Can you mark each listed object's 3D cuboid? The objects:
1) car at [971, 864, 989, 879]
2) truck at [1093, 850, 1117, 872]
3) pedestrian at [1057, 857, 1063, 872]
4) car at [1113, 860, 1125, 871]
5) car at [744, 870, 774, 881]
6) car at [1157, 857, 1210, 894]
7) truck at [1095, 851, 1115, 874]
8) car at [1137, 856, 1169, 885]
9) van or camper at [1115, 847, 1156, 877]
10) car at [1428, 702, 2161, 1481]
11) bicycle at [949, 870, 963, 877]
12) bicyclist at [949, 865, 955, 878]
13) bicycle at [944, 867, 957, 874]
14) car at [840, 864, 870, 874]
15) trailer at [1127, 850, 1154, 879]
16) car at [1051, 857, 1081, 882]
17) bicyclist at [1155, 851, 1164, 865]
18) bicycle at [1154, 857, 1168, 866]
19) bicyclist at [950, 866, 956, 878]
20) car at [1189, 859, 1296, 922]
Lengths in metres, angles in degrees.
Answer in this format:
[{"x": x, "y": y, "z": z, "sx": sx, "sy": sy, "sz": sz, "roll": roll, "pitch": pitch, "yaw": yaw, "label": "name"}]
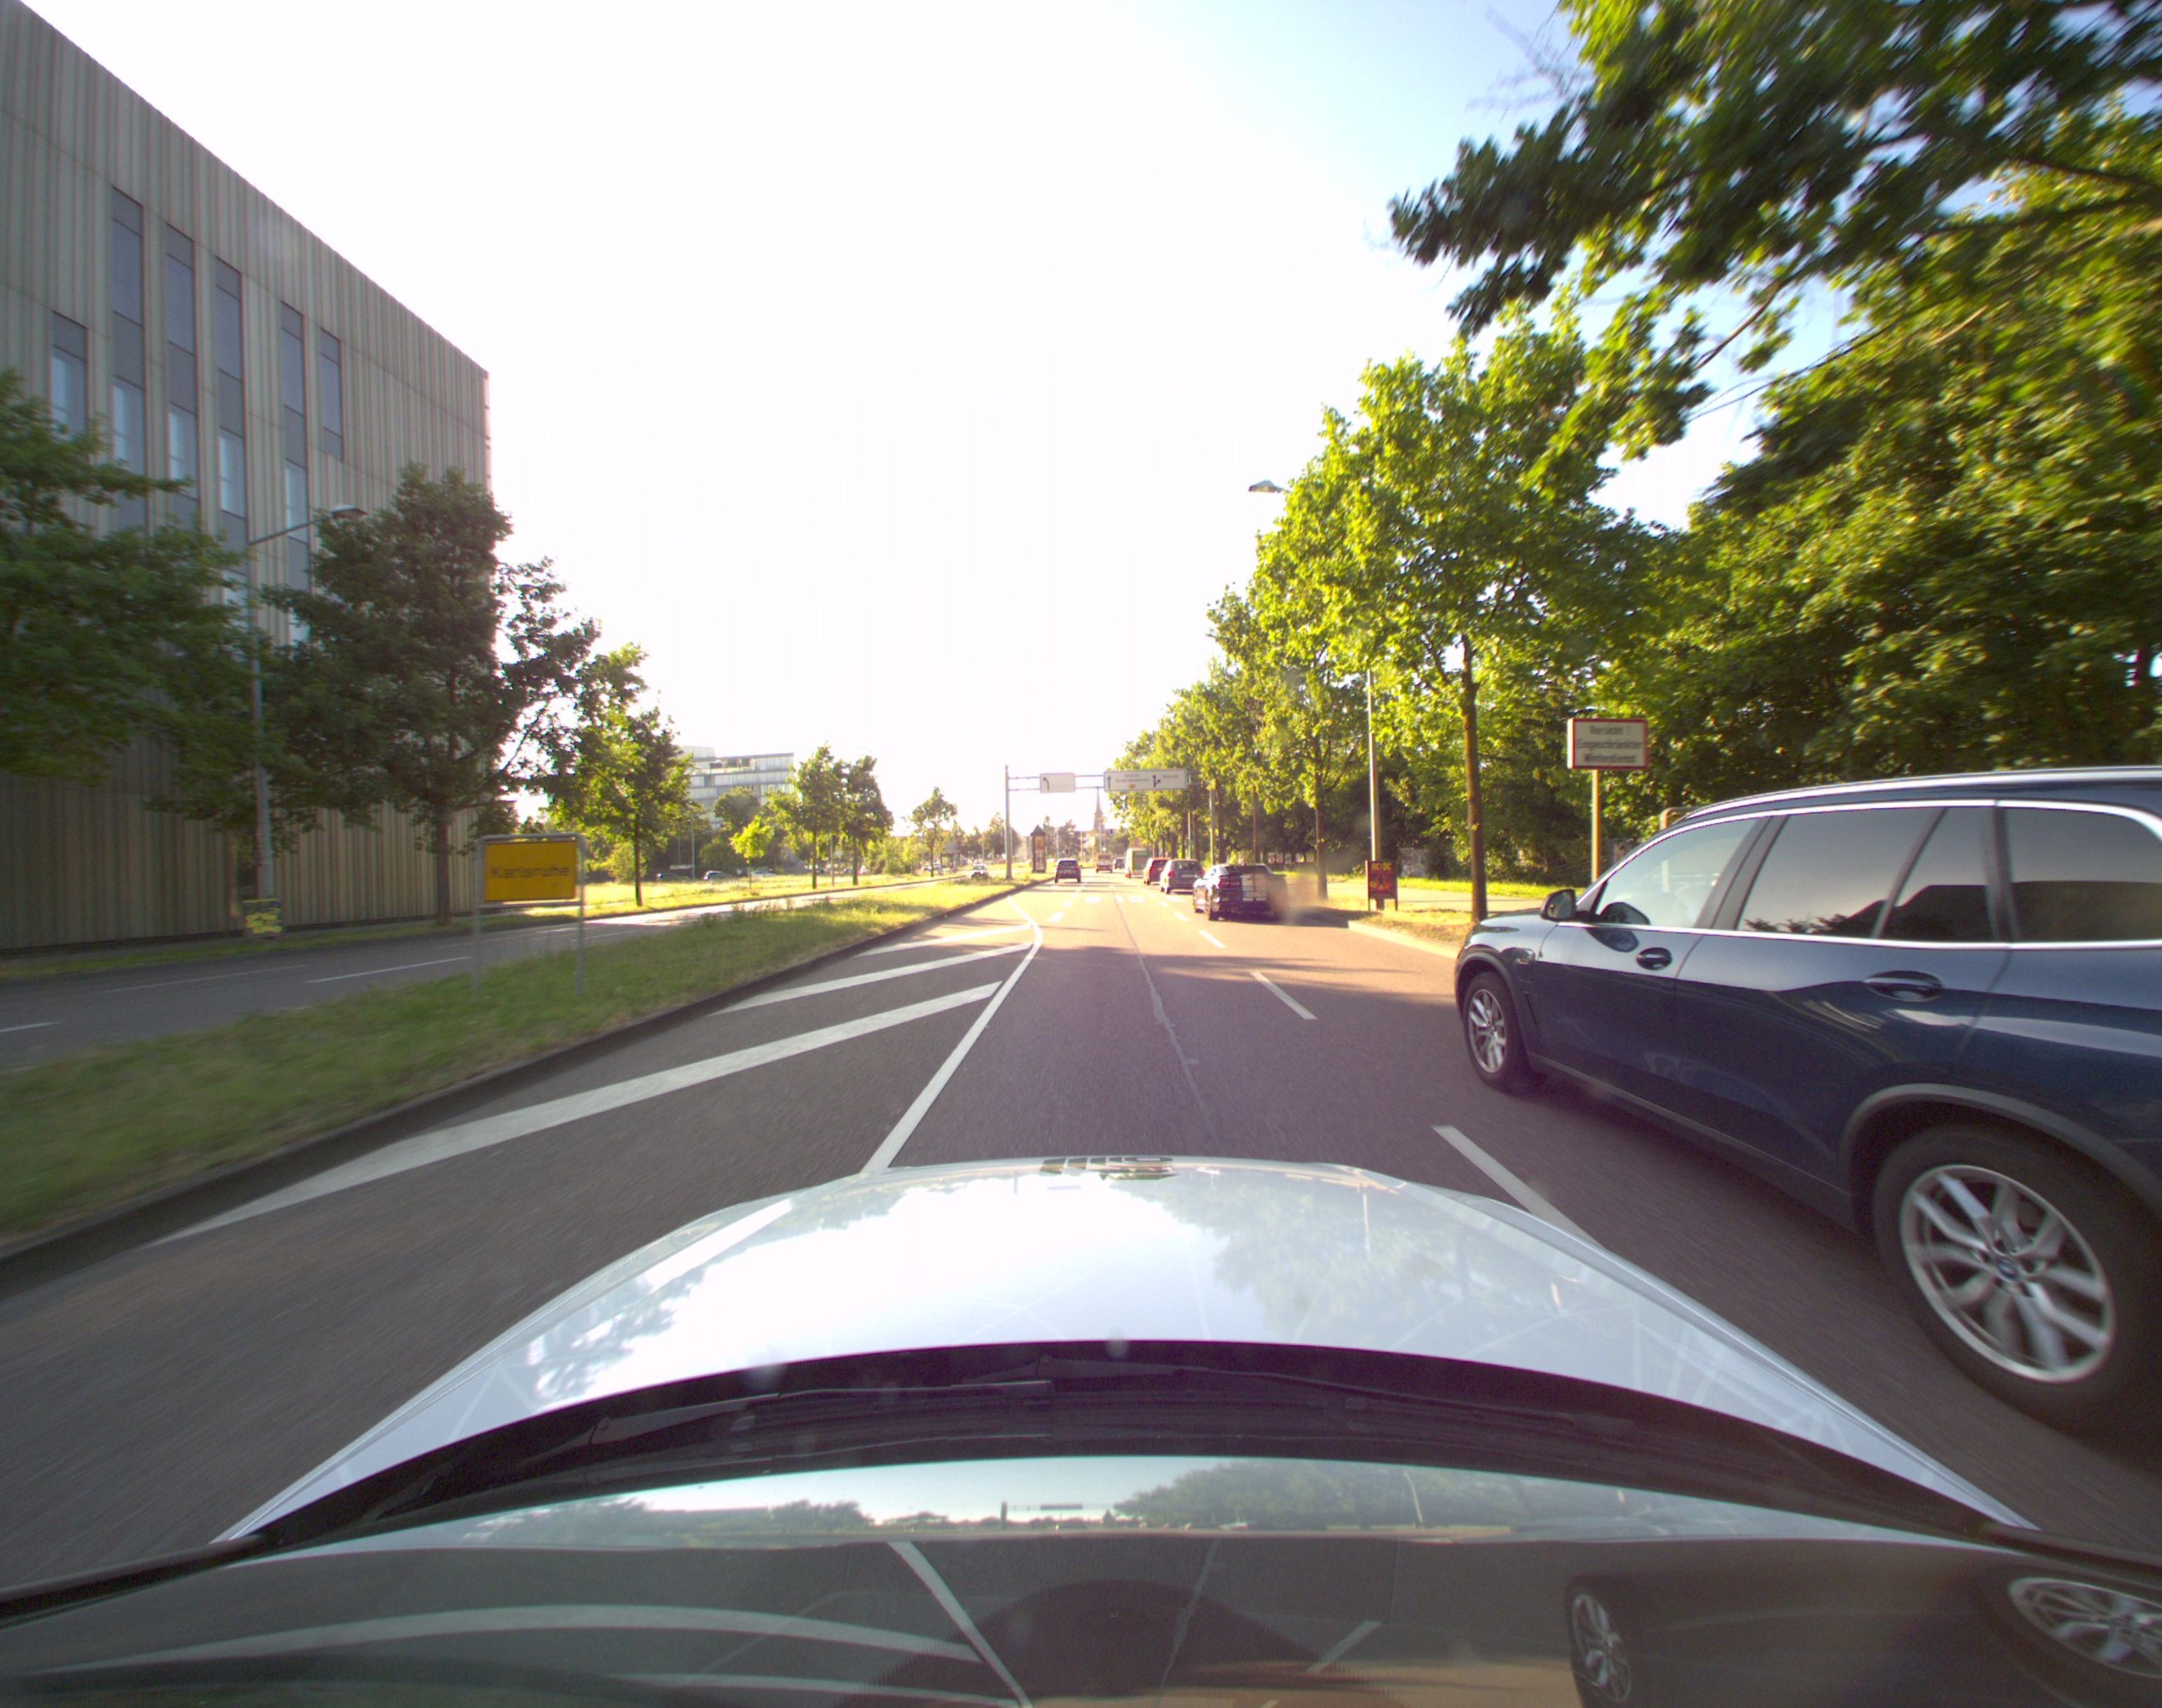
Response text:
[{"x": -11.018, "y": 1.922, "z": 89.230, "sx": 1.558, "sy": 1.575, "sz": 3.410, "roll": -2, "pitch": -1, "yaw": -1, "label": "car"}, {"x": 2.886, "y": 0.851, "z": 100.524, "sx": 2.573, "sy": 2.558, "sz": 6.247, "roll": -2, "pitch": 0, "yaw": -2, "label": "truck"}, {"x": -2.945, "y": 1.507, "z": 116.343, "sx": 0.788, "sy": 2.013, "sz": 0.700, "roll": -1, "pitch": 0, "yaw": -5, "label": "pedestrian"}, {"x": 5.641, "y": 1.674, "z": 121.154, "sx": 1.596, "sy": 1.610, "sz": 4.002, "roll": -2, "pitch": 0, "yaw": 2, "label": "car"}, {"x": -49.026, "y": 3.338, "z": 124.070, "sx": 3.729, "sy": 1.508, "sz": 1.853, "roll": -2, "pitch": 0, "yaw": -41, "label": "car"}, {"x": 4.389, "y": 0.898, "z": 35.333, "sx": 1.742, "sy": 1.473, "sz": 3.819, "roll": -2, "pitch": 0, "yaw": 0, "label": "car"}, {"x": 2.899, "y": 1.018, "z": 99.902, "sx": 2.212, "sy": 2.651, "sz": 4.773, "roll": -2, "pitch": 0, "yaw": 0, "label": "truck"}, {"x": 4.279, "y": 0.965, "z": 48.832, "sx": 1.741, "sy": 1.621, "sz": 3.821, "roll": 0, "pitch": 0, "yaw": 2, "label": "car"}, {"x": 4.944, "y": 0.732, "z": 75.092, "sx": 2.284, "sy": 2.629, "sz": 6.561, "roll": -1, "pitch": 0, "yaw": -9, "label": "van or camper"}, {"x": 3.444, "y": 0.540, "z": 3.622, "sx": 1.947, "sy": 1.727, "sz": 4.702, "roll": -1, "pitch": -1, "yaw": 2, "label": "car"}, {"x": -18.406, "y": 2.891, "z": 119.632, "sx": 1.897, "sy": 1.019, "sz": 0.505, "roll": -1, "pitch": -1, "yaw": 8, "label": "bicycle"}, {"x": -18.768, "y": 2.545, "z": 118.387, "sx": 0.807, "sy": 1.770, "sz": 0.498, "roll": -1, "pitch": -1, "yaw": 16, "label": "bicyclist"}, {"x": -18.954, "y": 2.391, "z": 118.348, "sx": 1.894, "sy": 1.019, "sz": 0.506, "roll": -1, "pitch": -1, "yaw": 16, "label": "bicycle"}, {"x": -37.258, "y": 2.484, "z": 134.344, "sx": 4.331, "sy": 1.508, "sz": 1.853, "roll": -2, "pitch": 0, "yaw": -41, "label": "car"}, {"x": 5.025, "y": 0.864, "z": 69.345, "sx": 2.082, "sy": 2.400, "sz": 3.502, "roll": 0, "pitch": 0, "yaw": 1, "label": "trailer"}, {"x": -1.068, "y": 1.052, "z": 56.074, "sx": 1.901, "sy": 1.660, "sz": 3.995, "roll": -2, "pitch": -1, "yaw": -4, "label": "car"}, {"x": 11.508, "y": 0.596, "z": 119.258, "sx": 0.927, "sy": 1.899, "sz": 0.605, "roll": -4, "pitch": -1, "yaw": 38, "label": "bicyclist"}, {"x": 11.716, "y": 1.046, "z": 119.093, "sx": 1.885, "sy": 1.244, "sz": 0.613, "roll": -4, "pitch": -1, "yaw": 38, "label": "bicycle"}, {"x": -18.819, "y": 2.608, "z": 119.700, "sx": 0.808, "sy": 1.789, "sz": 0.497, "roll": 0, "pitch": -1, "yaw": 9, "label": "bicyclist"}, {"x": 3.916, "y": 0.835, "z": 20.524, "sx": 1.847, "sy": 1.338, "sz": 4.626, "roll": -2, "pitch": 0, "yaw": 1, "label": "car"}]
